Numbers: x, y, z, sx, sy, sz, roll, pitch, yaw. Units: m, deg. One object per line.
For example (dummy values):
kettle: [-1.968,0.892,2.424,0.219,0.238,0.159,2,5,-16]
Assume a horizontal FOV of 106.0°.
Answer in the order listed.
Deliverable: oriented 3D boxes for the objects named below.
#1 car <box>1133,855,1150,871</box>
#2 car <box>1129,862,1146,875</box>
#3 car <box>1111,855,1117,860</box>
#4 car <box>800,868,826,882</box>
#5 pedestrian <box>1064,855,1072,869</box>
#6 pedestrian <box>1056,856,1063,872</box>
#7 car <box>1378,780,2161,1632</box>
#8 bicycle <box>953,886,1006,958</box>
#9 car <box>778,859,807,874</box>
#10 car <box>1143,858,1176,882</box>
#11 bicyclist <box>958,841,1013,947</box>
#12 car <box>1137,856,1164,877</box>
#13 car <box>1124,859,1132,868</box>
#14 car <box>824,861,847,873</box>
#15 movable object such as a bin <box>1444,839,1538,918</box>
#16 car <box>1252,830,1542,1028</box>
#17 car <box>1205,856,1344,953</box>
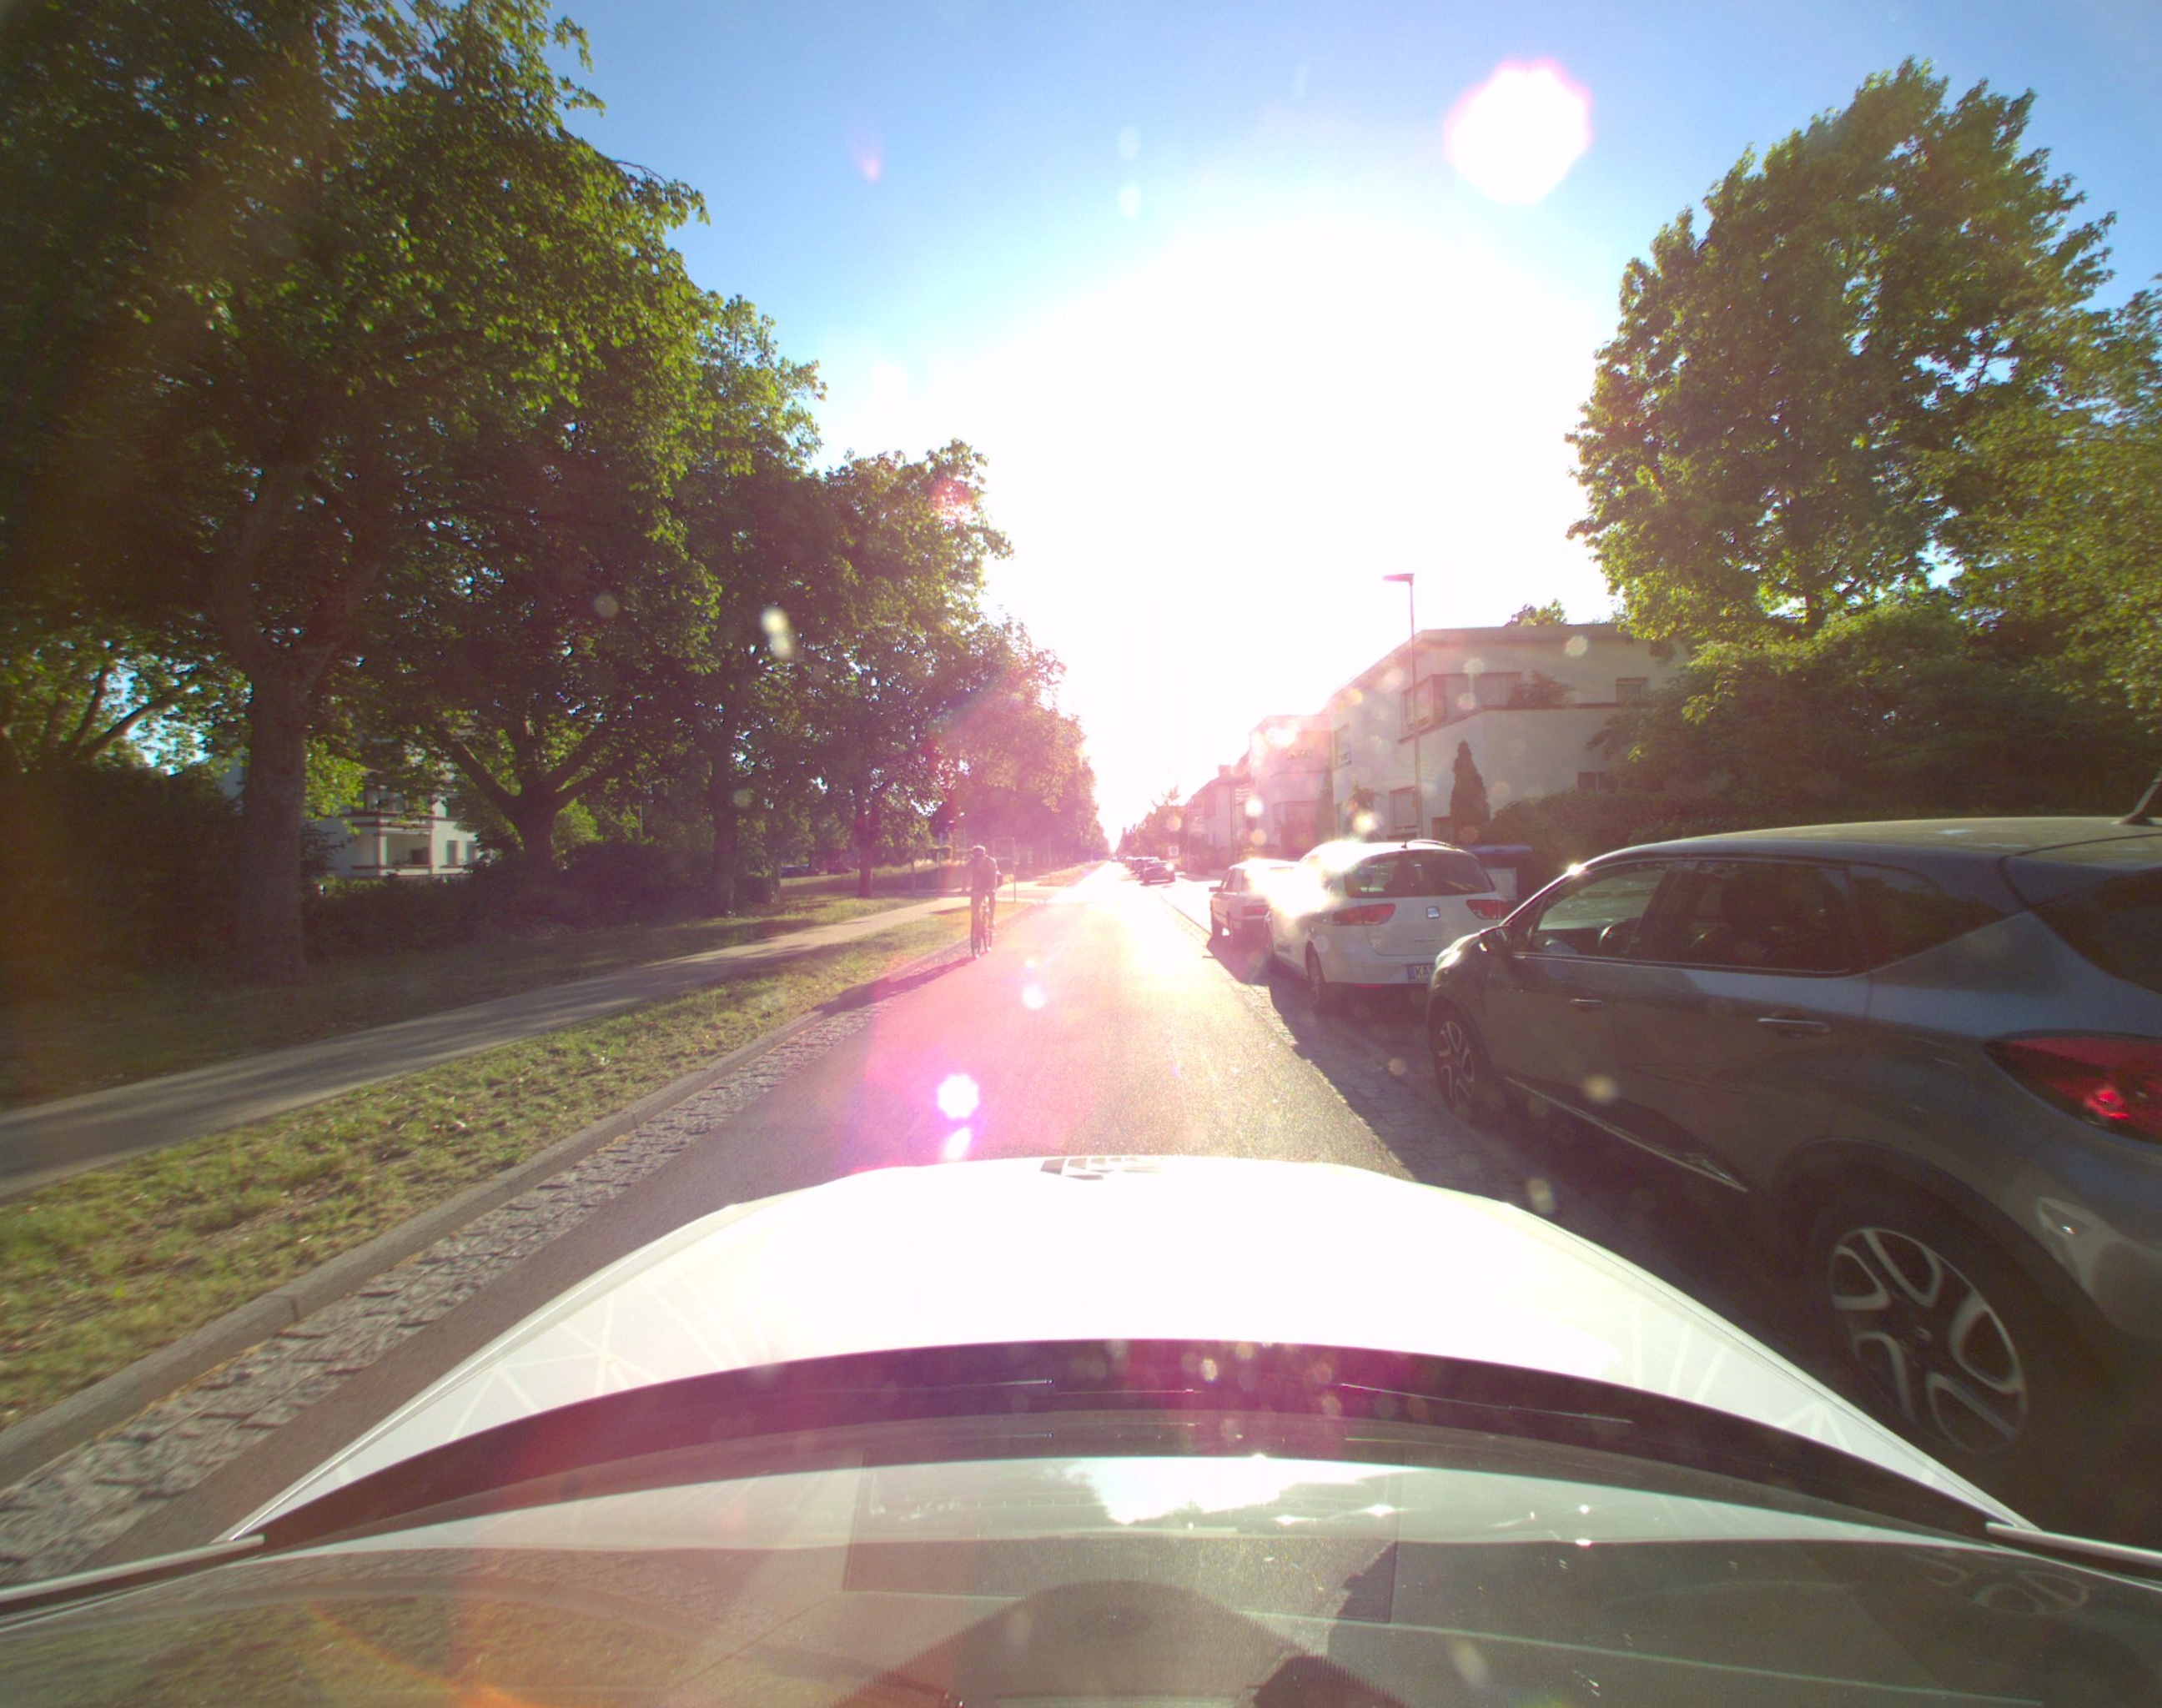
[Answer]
car: [6.149,0.874,82.741,1.621,1.504,3.636,-3,0,3]
car: [6.872,1.783,99.095,1.730,1.449,4.197,-3,-1,1]
car: [9.985,1.131,247.926,1.645,1.541,3.268,0,-1,2]
car: [-32.842,2.508,99.852,1.686,1.597,4.222,-1,0,1]
pedestrian: [-1.574,0.893,96.140,0.779,1.614,0.953,-1,0,5]
pedestrian: [-2.532,1.154,95.986,0.621,1.831,0.887,-1,0,5]
car: [2.841,0.617,3.484,1.672,1.555,4.146,-3,0,2]
bicycle: [-1.644,1.085,13.433,0.554,1.032,1.915,-2,-1,2]
car: [-33.057,1.393,93.510,1.686,1.597,4.222,-1,0,1]
car: [4.922,0.961,51.364,1.767,1.288,4.275,-4,0,3]
bicyclist: [-1.564,0.649,13.553,0.679,1.673,1.173,-2,-1,2]
car: [5.353,0.943,62.750,1.738,1.474,3.923,-4,0,1]
car: [8.741,1.799,150.786,1.492,1.567,3.269,-2,-1,3]
car: [-33.040,1.711,109.710,1.686,1.597,4.222,-1,0,1]
movable object such as a bin: [7.701,0.450,15.354,1.232,1.432,1.124,-1,-1,4]
car: [3.028,0.629,8.771,1.671,1.555,4.133,-3,0,3]
car: [3.258,0.779,14.478,1.557,1.390,4.377,-3,0,3]
